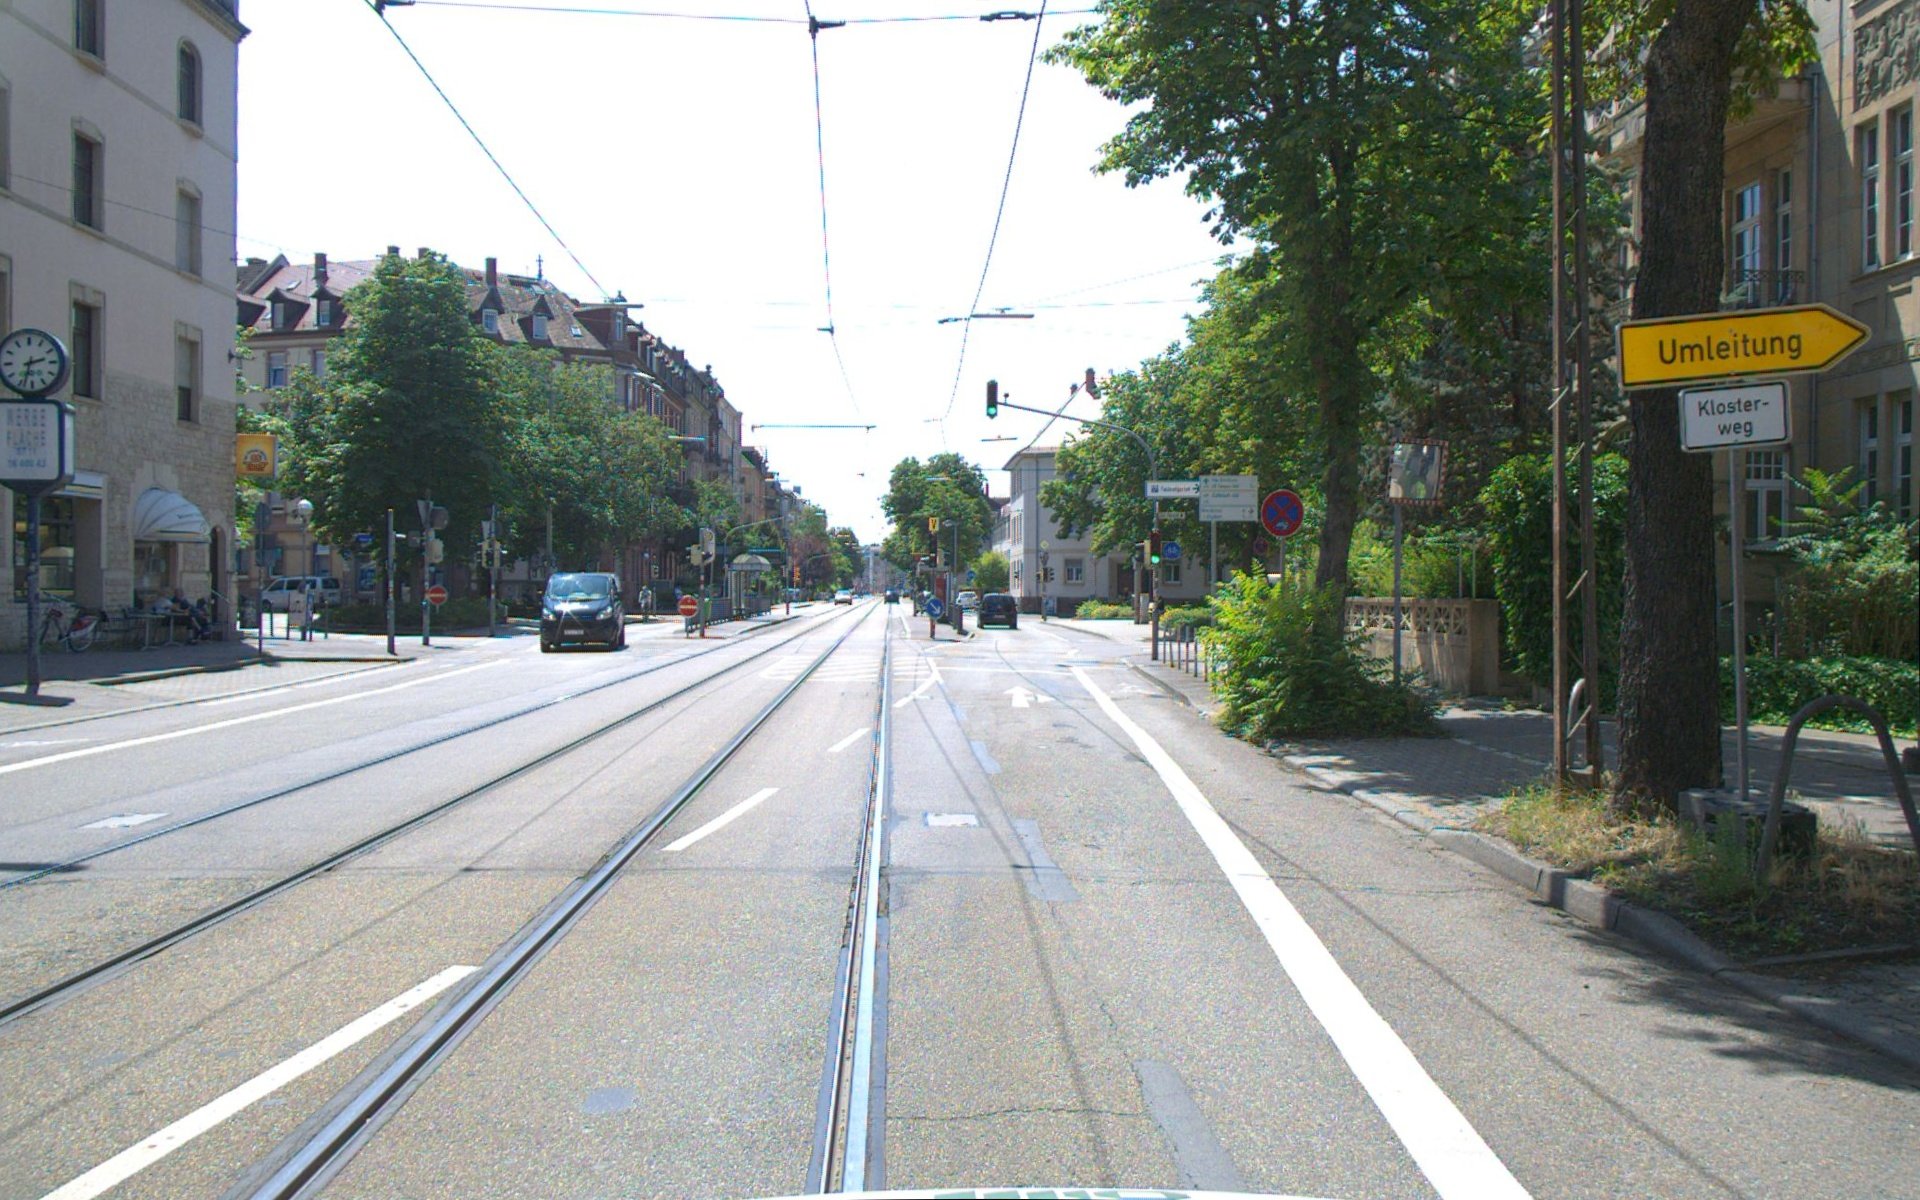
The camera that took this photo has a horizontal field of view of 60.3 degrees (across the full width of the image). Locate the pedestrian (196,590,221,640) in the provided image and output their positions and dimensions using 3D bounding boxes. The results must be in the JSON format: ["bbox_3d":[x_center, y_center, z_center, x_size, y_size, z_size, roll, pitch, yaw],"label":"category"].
[{"bbox_3d":[-17.613,0.353,38.788,0.397,1.168,0.405,1,0,-6],"label":"pedestrian"}]

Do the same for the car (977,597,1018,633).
[{"bbox_3d":[1.569,0.630,70.536,1.494,1.469,3.363,-1,0,-3],"label":"car"}]

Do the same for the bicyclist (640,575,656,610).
[{"bbox_3d":[-14.624,-0.355,77.518,0.596,1.601,0.585,1,0,-3],"label":"bicyclist"}]

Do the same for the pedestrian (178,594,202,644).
[{"bbox_3d":[-17.481,0.429,37.548,0.348,1.108,0.405,1,0,-6],"label":"pedestrian"}]

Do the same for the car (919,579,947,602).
[{"bbox_3d":[-1.815,-0.638,110.956,1.496,1.481,3.358,-1,0,-8],"label":"car"}]

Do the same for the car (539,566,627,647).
[{"bbox_3d":[-9.865,0.169,43.609,1.809,1.971,4.814,-1,0,-8],"label":"car"}]

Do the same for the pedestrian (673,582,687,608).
[{"bbox_3d":[-18.026,-0.337,106.460,0.462,1.643,0.649,5,2,44],"label":"pedestrian"}]

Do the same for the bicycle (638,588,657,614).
[{"bbox_3d":[-14.623,0.038,77.477,0.615,1.177,1.977,1,1,-3],"label":"bicycle"}]

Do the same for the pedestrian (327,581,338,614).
[{"bbox_3d":[-34.873,-0.136,91.868,0.500,1.799,0.525,1,0,-25],"label":"pedestrian"}]

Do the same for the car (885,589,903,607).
[{"bbox_3d":[-7.571,-0.215,189.875,2.006,2.049,4.604,1,0,-3],"label":"car"}]

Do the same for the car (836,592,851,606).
[{"bbox_3d":[-12.096,-0.073,171.991,1.510,1.362,3.716,1,0,-4],"label":"car"}]

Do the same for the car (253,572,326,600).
[{"bbox_3d":[-36.928,-0.758,91.131,3.653,1.467,1.541,1,0,21],"label":"car"}]

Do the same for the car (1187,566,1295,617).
[{"bbox_3d":[15.058,-0.474,88.908,1.983,2.635,5.760,-1,1,-42],"label":"car"}]

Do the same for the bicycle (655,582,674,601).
[{"bbox_3d":[-19.423,-0.558,108.763,0.357,1.189,1.517,2,1,29],"label":"bicycle"}]

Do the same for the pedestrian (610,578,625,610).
[{"bbox_3d":[-17.725,-0.317,85.661,0.666,1.633,0.772,1,0,-6],"label":"pedestrian"}]

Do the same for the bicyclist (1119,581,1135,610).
[{"bbox_3d":[9.672,-0.269,95.867,0.681,1.675,0.579,1,0,30],"label":"bicyclist"}]

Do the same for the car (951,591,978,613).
[{"bbox_3d":[0.315,0.144,122.273,1.713,1.498,3.935,-3,0,-4],"label":"car"}]

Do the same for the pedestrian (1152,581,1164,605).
[{"bbox_3d":[9.369,-0.334,78.312,0.499,1.111,0.478,-1,1,3],"label":"pedestrian"}]

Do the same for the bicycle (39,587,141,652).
[{"bbox_3d":[-17.229,0.387,32.816,0.444,1.246,2.081,1,0,16],"label":"bicycle"}]
